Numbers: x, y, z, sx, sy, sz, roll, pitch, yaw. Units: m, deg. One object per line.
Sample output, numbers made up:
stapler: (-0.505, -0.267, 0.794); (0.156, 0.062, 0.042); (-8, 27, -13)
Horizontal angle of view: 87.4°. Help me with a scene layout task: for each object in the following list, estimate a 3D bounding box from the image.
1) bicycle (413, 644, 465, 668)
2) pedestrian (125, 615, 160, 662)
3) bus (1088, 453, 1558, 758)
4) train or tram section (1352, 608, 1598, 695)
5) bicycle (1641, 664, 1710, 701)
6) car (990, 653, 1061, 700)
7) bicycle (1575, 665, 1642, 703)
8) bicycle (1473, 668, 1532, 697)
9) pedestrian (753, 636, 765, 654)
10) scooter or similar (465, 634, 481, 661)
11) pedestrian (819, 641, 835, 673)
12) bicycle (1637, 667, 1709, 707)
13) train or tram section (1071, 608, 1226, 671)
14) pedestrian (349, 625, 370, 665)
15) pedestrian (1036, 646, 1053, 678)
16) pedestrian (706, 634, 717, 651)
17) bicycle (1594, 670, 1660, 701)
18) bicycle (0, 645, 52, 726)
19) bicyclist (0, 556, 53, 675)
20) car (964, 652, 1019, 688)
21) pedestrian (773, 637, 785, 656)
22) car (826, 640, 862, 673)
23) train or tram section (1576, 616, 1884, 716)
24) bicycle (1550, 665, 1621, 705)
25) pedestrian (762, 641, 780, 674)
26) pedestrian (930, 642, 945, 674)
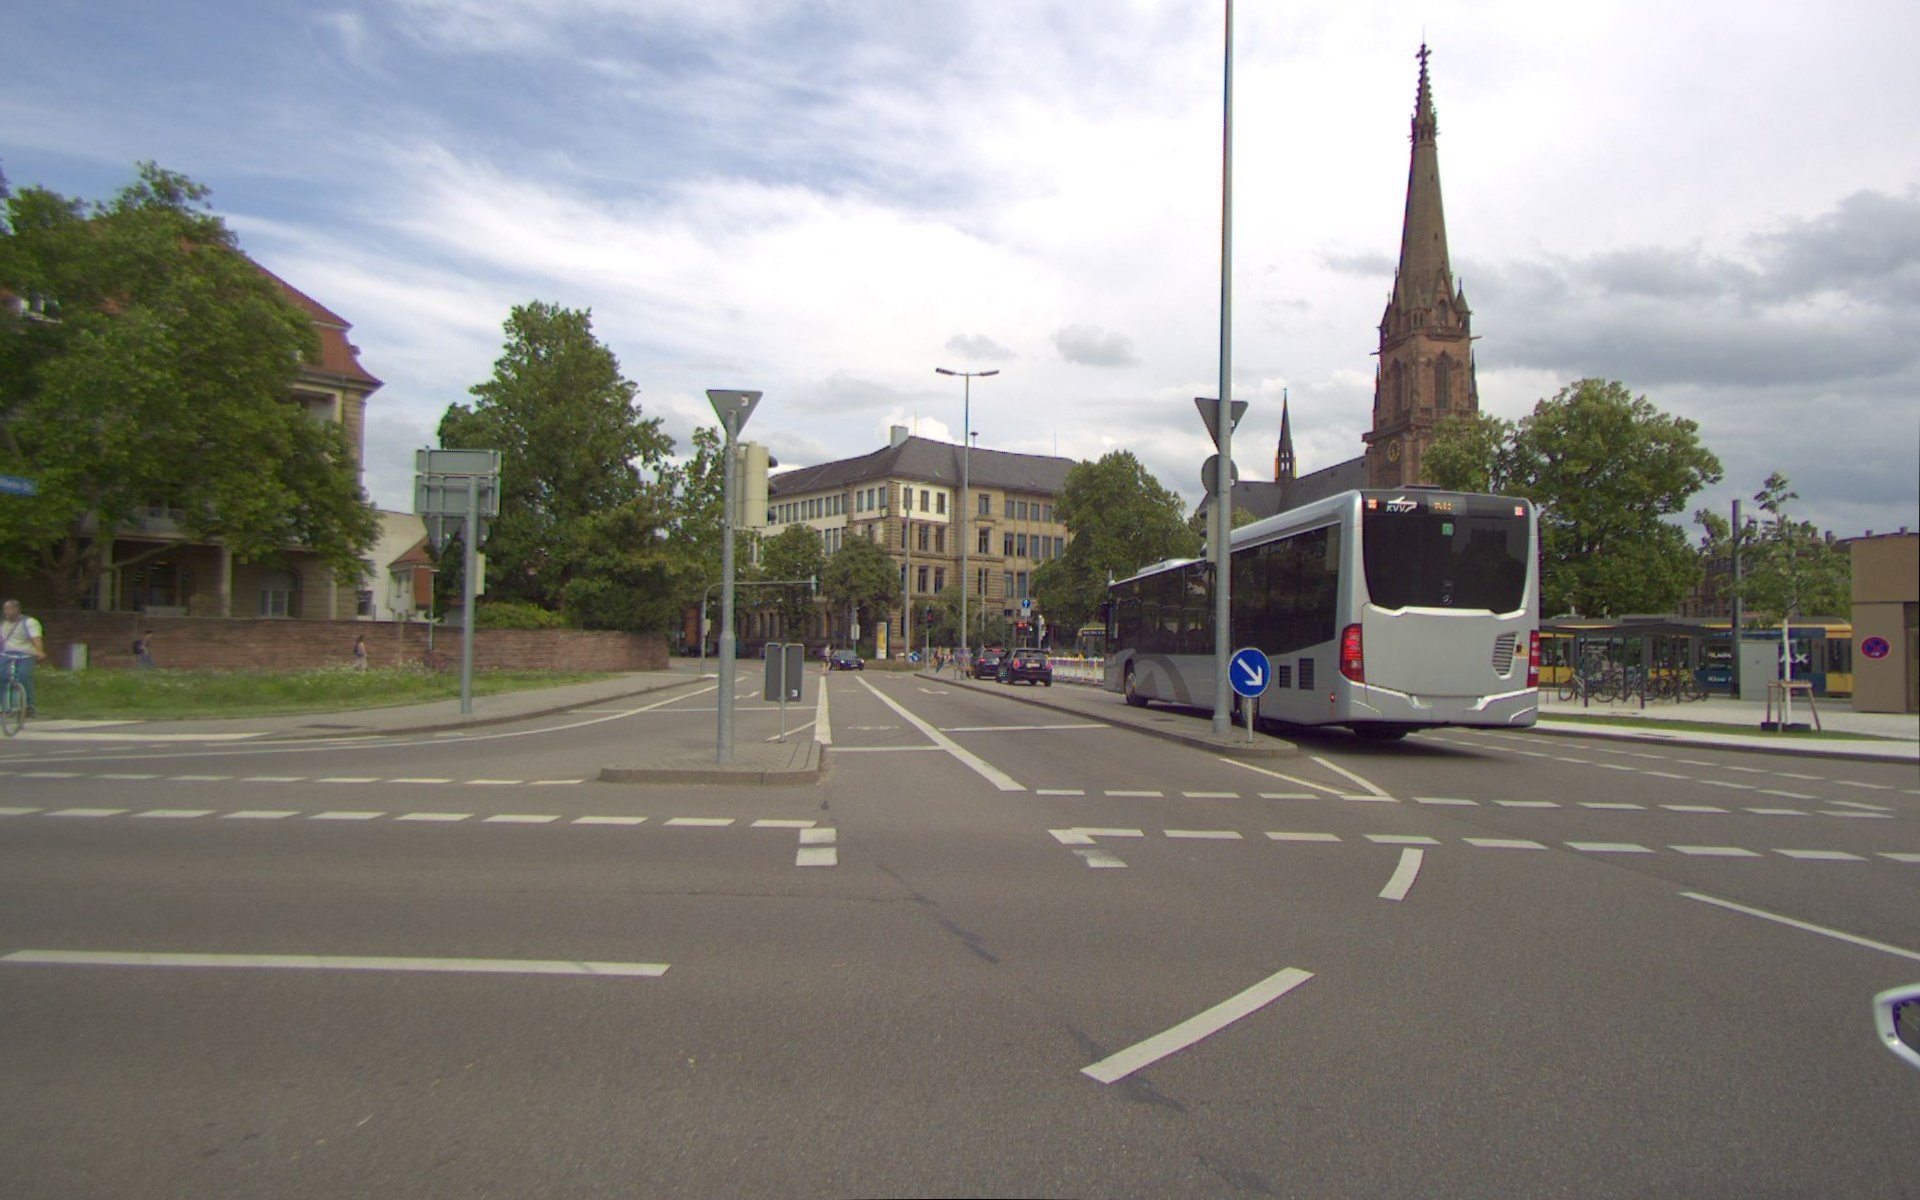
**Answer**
bicycle: (-23.679, 2.514, 45.691); (0.767, 1.018, 1.917); (2, 0, 40)
pedestrian: (-30.071, 1.403, 36.950); (0.566, 1.676, 0.781); (2, 0, 25)
bus: (5.179, 0.478, 18.812); (2.662, 3.482, 14.180); (2, -3, -4)
train or tram section: (23.900, 2.251, 47.207); (3.041, 3.496, 9.805); (2, 0, -42)
bicycle: (25.204, 2.890, 35.381); (1.936, 1.171, 0.581); (1, 0, 39)
car: (2.540, 2.972, 39.675); (1.964, 1.506, 3.994); (2, 0, -9)
bicycle: (23.051, 2.971, 35.740); (1.936, 1.171, 0.581); (1, 0, 39)
bicycle: (21.223, 3.236, 39.341); (1.940, 0.968, 0.580); (1, 0, 45)
pedestrian: (-22.550, 5.058, 112.663); (0.881, 2.040, 1.000); (3, -2, -34)
scooter or similar: (-22.871, 2.229, 47.168); (0.512, 1.154, 1.512); (2, 0, -21)
pedestrian: (-7.636, 3.274, 57.801); (0.784, 1.734, 0.839); (2, 0, -3)
bicycle: (24.296, 2.950, 34.247); (1.936, 1.171, 0.581); (1, 0, 39)
train or tram section: (11.292, 2.288, 61.042); (3.041, 3.321, 9.251); (2, 0, -42)
pedestrian: (-25.600, 1.926, 42.826); (0.626, 1.676, 0.524); (2, 0, -45)
pedestrian: (4.760, 3.477, 56.633); (0.784, 1.734, 0.839); (2, 0, -3)
pedestrian: (-30.302, 5.194, 122.451); (0.881, 2.040, 1.000); (3, -2, -34)
bicycle: (24.775, 3.175, 37.335); (1.940, 0.983, 0.580); (1, 0, 45)
bicycle: (-12.873, 1.127, 13.614); (1.941, 0.948, 0.504); (2, -2, 39)
bicyclist: (-12.888, 0.212, 13.701); (0.785, 1.575, 0.577); (2, -2, 39)
car: (1.411, 3.252, 47.146); (1.963, 1.379, 4.270); (2, 0, -7)
pedestrian: (-19.821, 5.062, 109.791); (0.881, 2.040, 1.000); (3, -2, -34)
car: (-8.184, 3.943, 70.614); (1.966, 2.040, 3.988); (2, 0, -14)
train or tram section: (30.430, 2.443, 40.202); (3.041, 3.289, 9.382); (2, 0, -42)
bicycle: (21.052, 2.856, 33.827); (1.936, 1.171, 0.581); (1, 0, 39)
pedestrian: (-10.308, 3.110, 54.751); (0.784, 1.734, 0.839); (2, 0, -3)
pedestrian: (-1.298, 3.287, 56.950); (0.784, 1.734, 0.839); (2, 0, -3)
